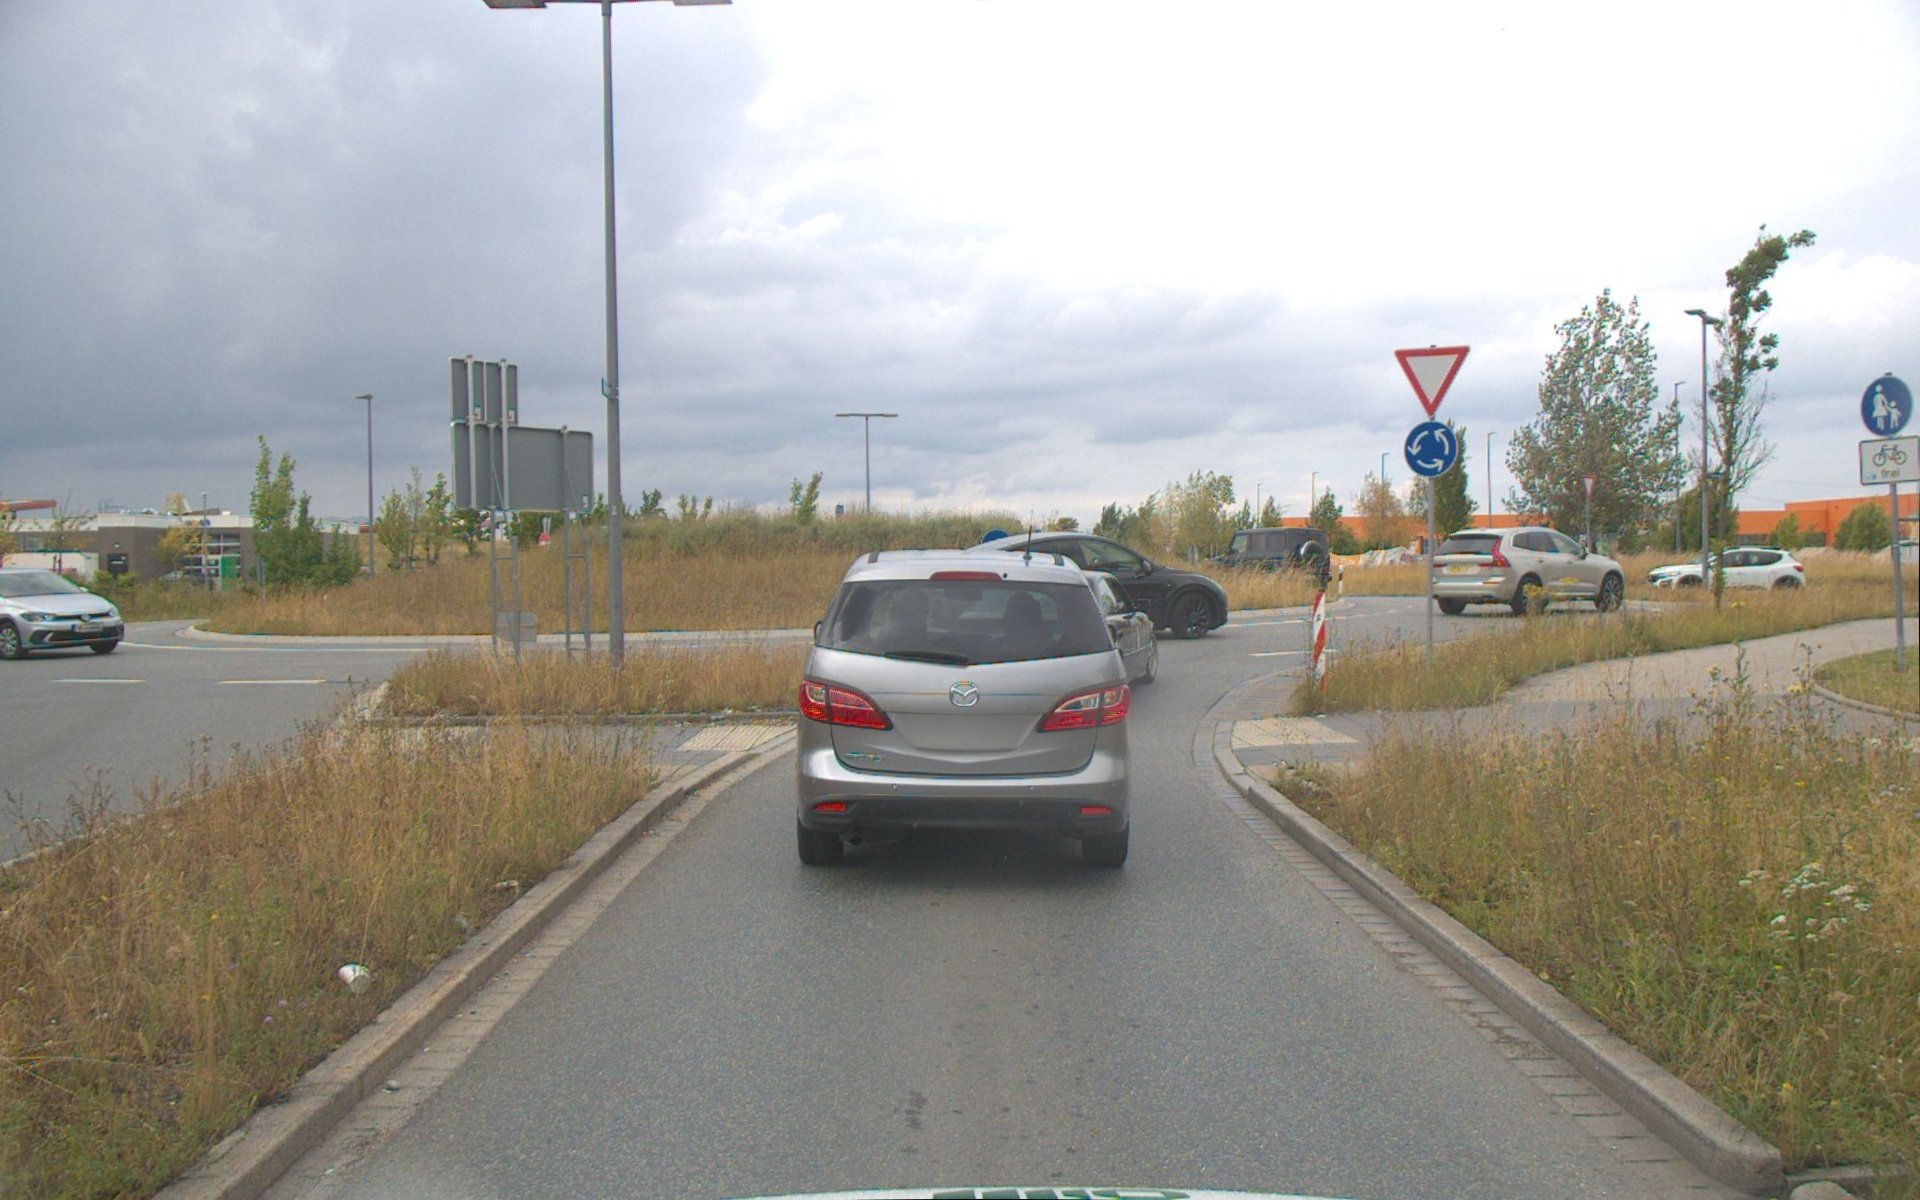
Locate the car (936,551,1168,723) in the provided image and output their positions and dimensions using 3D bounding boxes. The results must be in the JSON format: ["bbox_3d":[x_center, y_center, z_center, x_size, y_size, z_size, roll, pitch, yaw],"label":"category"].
[{"bbox_3d":[1.081,0.278,17.252,1.701,1.427,4.002,1,4,14],"label":"car"}]

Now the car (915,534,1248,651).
[{"bbox_3d":[1.832,-0.171,25.146,4.686,1.524,1.935,-3,3,-18],"label":"car"}]

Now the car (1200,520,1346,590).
[{"bbox_3d":[9.265,-1.383,49.339,2.049,1.919,4.744,-3,3,-22],"label":"car"}]

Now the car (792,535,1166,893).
[{"bbox_3d":[0.074,0.469,9.611,1.702,1.626,3.998,1,2,0],"label":"car"}]

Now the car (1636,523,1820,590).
[{"bbox_3d":[21.106,-1.204,45.586,4.235,1.676,1.872,-1,3,5],"label":"car"}]

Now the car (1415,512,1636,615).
[{"bbox_3d":[11.107,-0.759,32.310,4.730,1.768,1.917,-4,4,-39],"label":"car"}]

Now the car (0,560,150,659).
[{"bbox_3d":[-15.602,0.171,27.455,3.908,1.489,1.813,-1,2,26],"label":"car"}]
